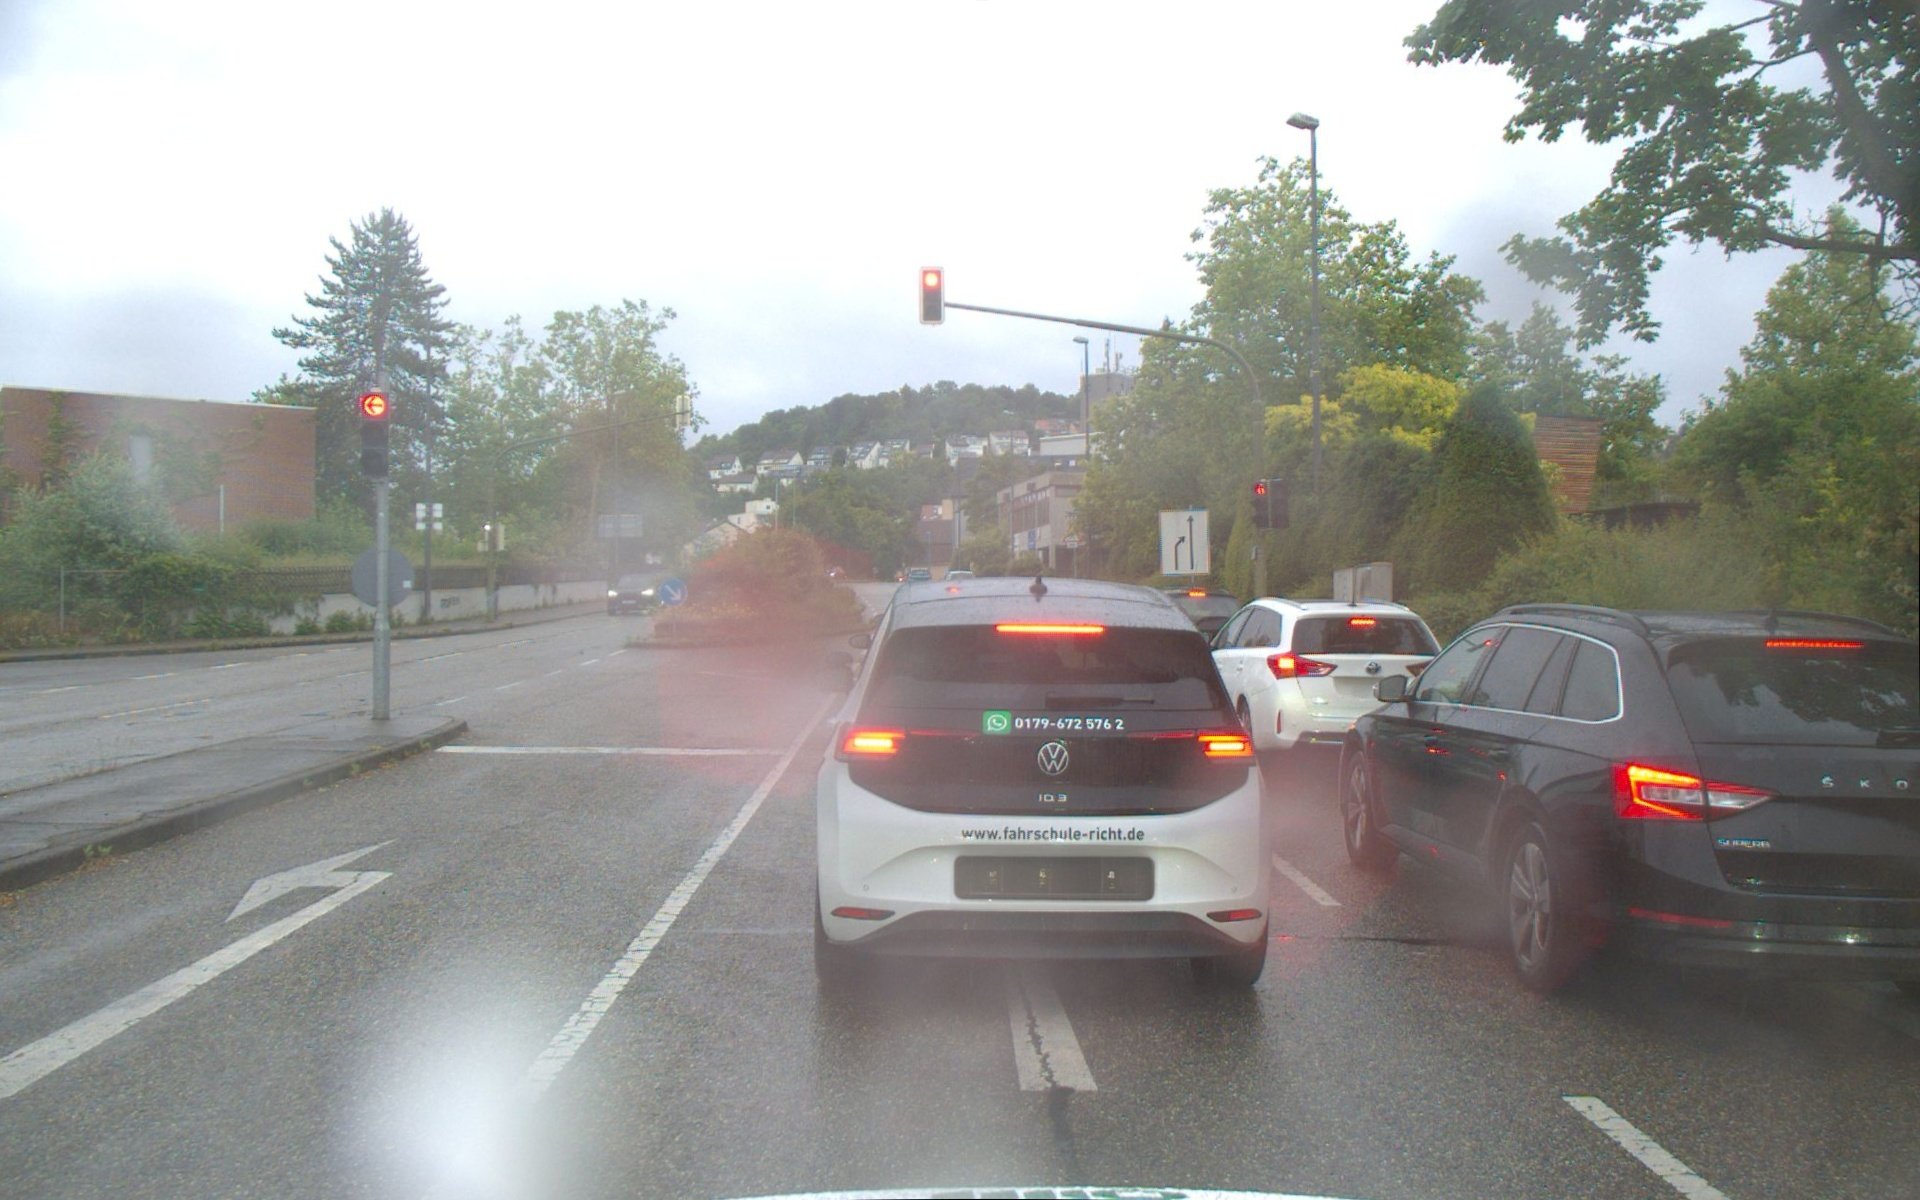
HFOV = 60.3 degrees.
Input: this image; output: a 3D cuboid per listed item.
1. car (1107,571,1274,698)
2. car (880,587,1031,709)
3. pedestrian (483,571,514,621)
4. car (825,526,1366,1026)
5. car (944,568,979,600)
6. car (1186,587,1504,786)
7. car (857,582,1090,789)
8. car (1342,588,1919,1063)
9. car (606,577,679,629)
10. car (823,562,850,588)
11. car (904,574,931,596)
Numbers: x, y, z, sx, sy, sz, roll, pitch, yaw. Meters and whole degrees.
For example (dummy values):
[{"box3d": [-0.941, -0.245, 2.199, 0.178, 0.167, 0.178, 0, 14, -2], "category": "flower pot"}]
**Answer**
[{"box3d": [3.159, 0.449, 23.429, 1.739, 1.609, 3.999, 1, 0, -1], "category": "car"}, {"box3d": [-0.097, 0.571, 21.970, 1.800, 1.424, 3.830, 1, 1, -1], "category": "car"}, {"box3d": [-15.339, -0.135, 55.026, 0.744, 1.595, 0.825, -2, 0, -2], "category": "pedestrian"}, {"box3d": [0.410, 0.577, 7.915, 1.800, 1.657, 4.614, 1, 1, -1], "category": "car"}, {"box3d": [0.058, -0.762, 80.092, 1.549, 1.492, 3.998, -1, 0, -2], "category": "car"}, {"box3d": [3.290, 0.662, 14.976, 1.800, 1.492, 4.116, 1, 1, -1], "category": "car"}, {"box3d": [0.058, 0.651, 15.096, 1.800, 1.582, 4.174, 1, 1, -1], "category": "car"}, {"box3d": [3.129, 0.723, 7.500, 1.800, 1.492, 4.350, 1, 1, 1], "category": "car"}, {"box3d": [-12.036, 0.109, 62.916, 1.953, 1.836, 3.999, -3, 0, -1], "category": "car"}, {"box3d": [-10.440, -2.074, 140.053, 1.953, 2.049, 3.999, 1, -1, -1], "category": "car"}, {"box3d": [-2.890, -1.029, 112.861, 1.726, 1.443, 3.747, -1, 1, -3], "category": "car"}]
